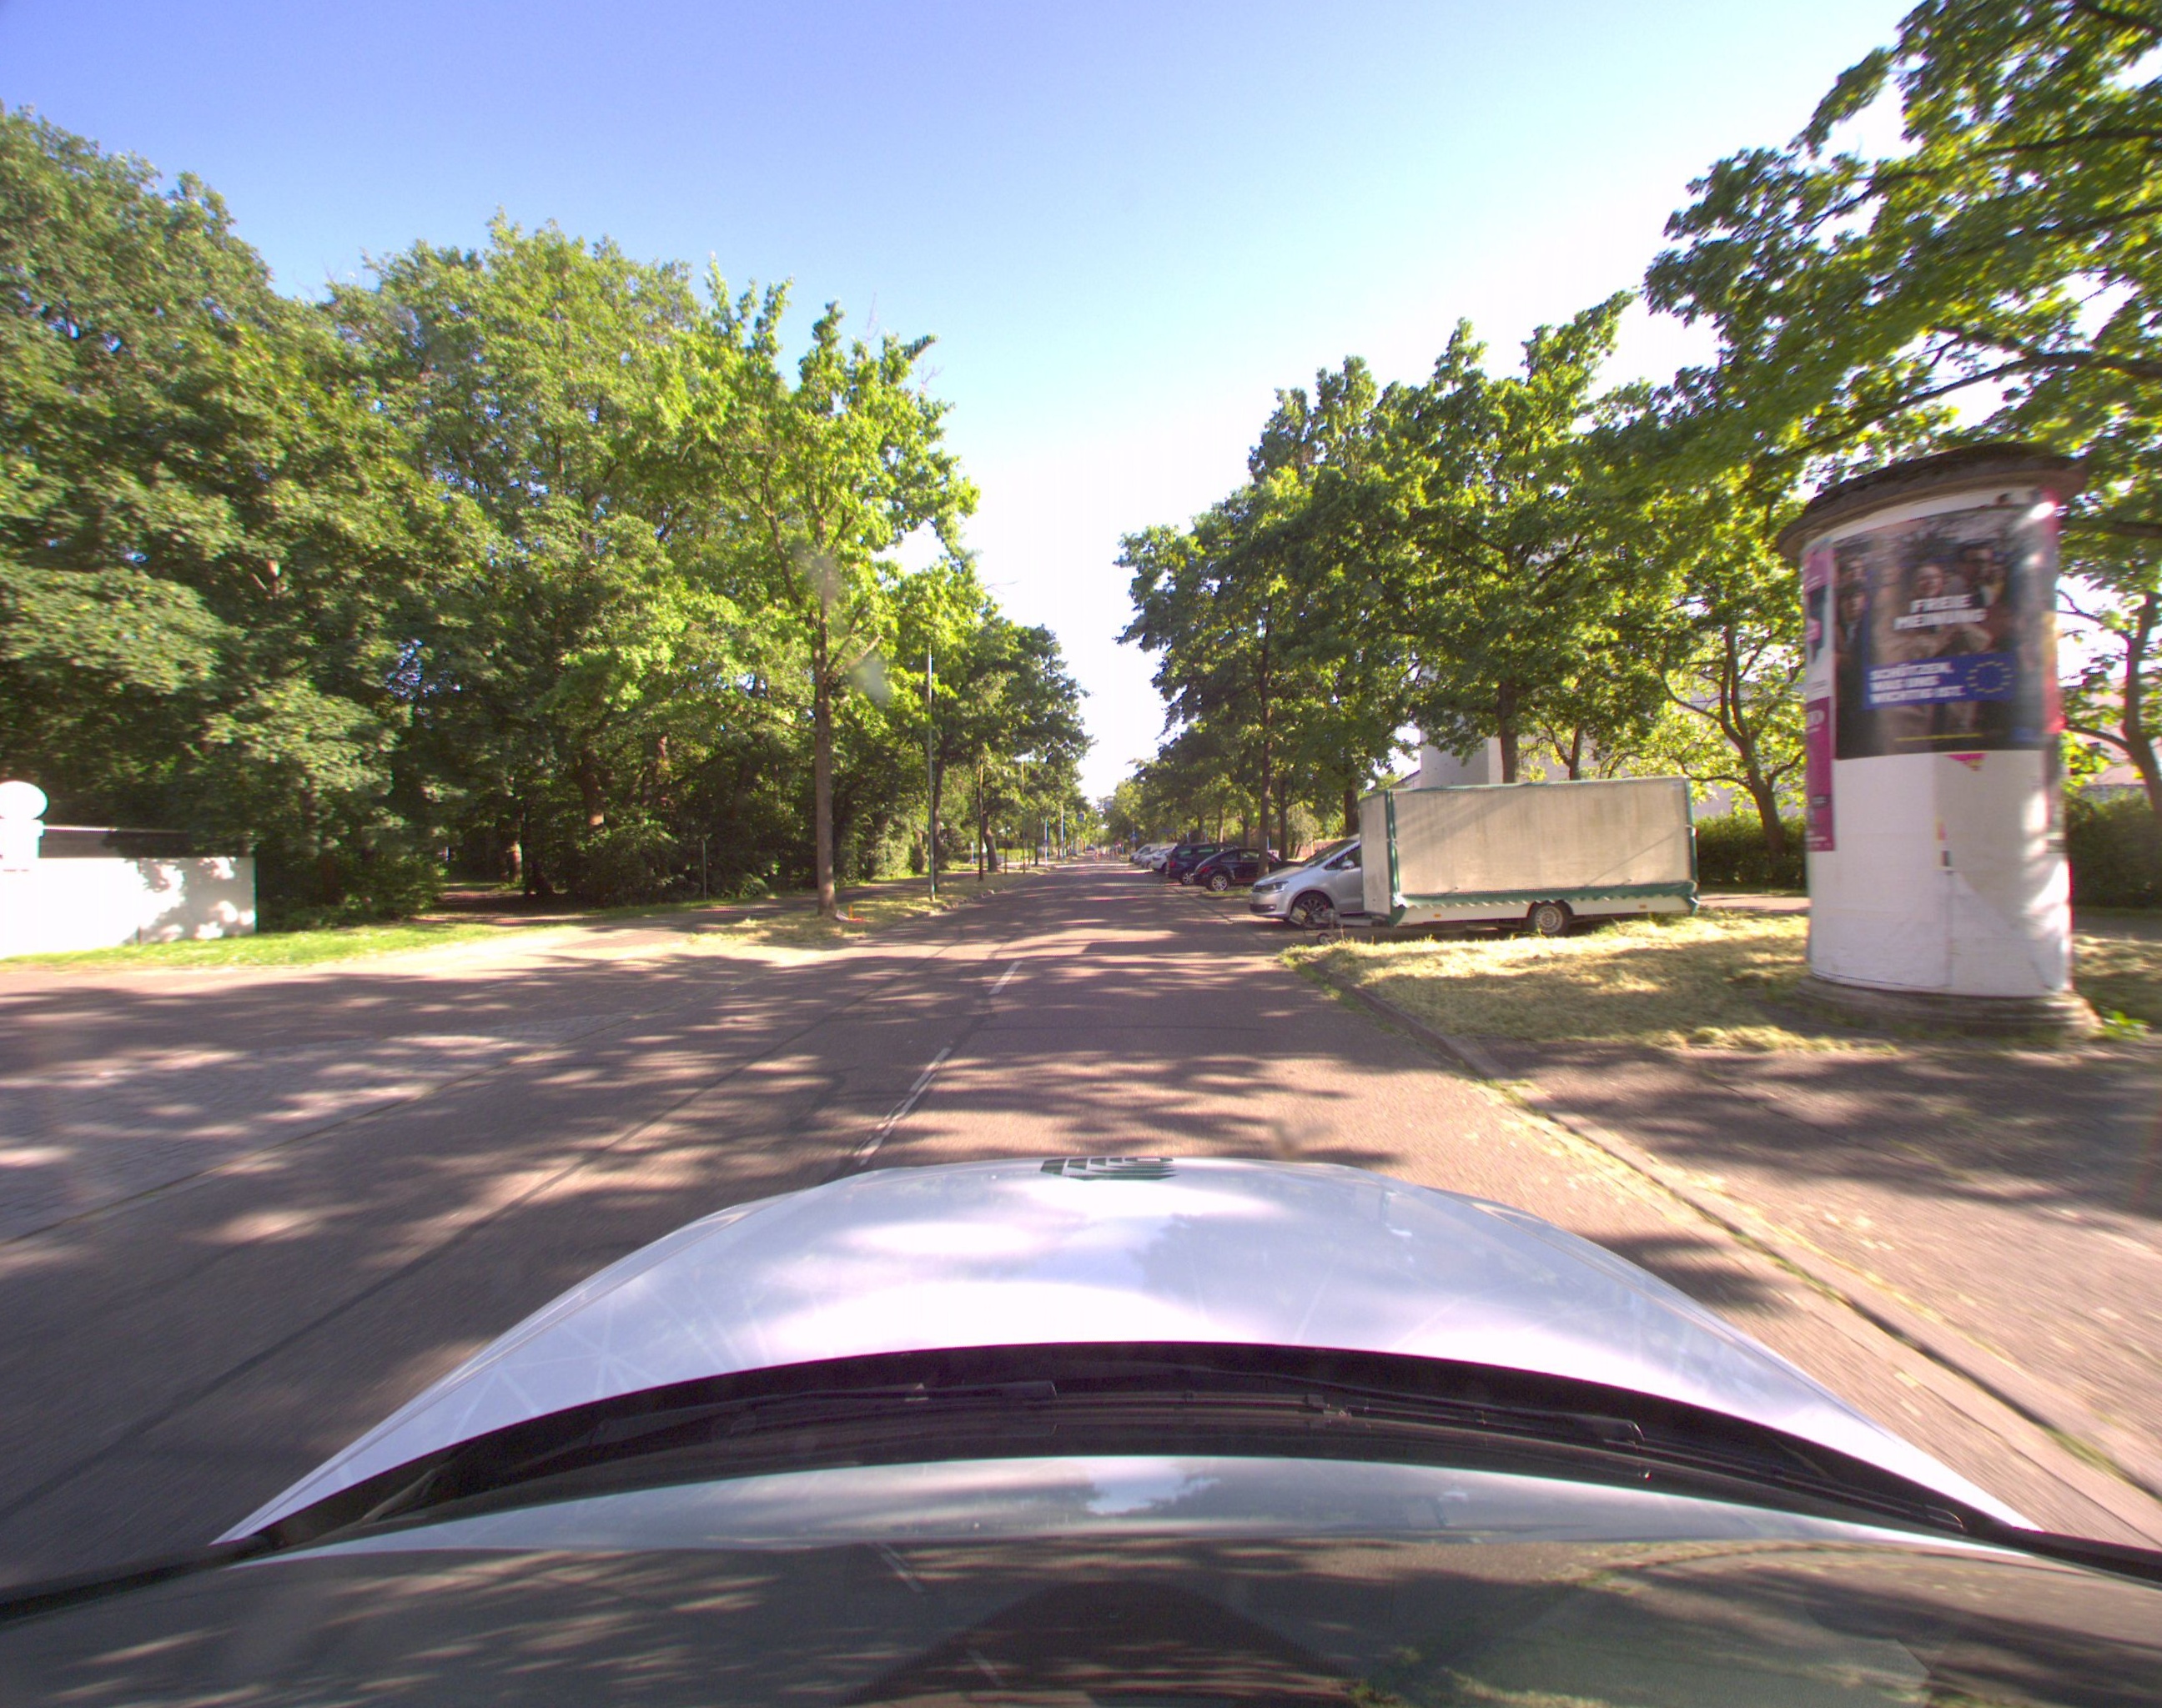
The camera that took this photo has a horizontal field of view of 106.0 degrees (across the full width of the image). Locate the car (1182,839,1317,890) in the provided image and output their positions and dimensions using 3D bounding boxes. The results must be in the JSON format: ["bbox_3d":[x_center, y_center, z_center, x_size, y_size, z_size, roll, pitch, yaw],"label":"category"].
[{"bbox_3d":[5.727,0.346,28.130,4.228,1.519,2.079,-2,0,2],"label":"car"}]

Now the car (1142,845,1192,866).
[{"bbox_3d":[7.087,0.148,67.182,3.871,1.497,1.777,-3,0,0],"label":"car"}]

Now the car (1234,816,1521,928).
[{"bbox_3d":[5.371,0.315,15.271,4.624,1.722,1.989,-3,0,2],"label":"car"}]

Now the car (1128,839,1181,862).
[{"bbox_3d":[7.399,-0.333,82.183,5.171,2.105,2.082,-2,0,0],"label":"car"}]

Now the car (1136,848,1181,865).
[{"bbox_3d":[7.055,0.186,74.261,3.970,1.433,1.902,-1,0,3],"label":"car"}]

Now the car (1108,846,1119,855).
[{"bbox_3d":[6.298,-0.748,159.006,1.986,1.716,4.001,-1,0,1],"label":"car"}]

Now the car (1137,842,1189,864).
[{"bbox_3d":[7.183,-0.076,71.868,4.371,1.651,1.850,-3,0,-1],"label":"car"}]

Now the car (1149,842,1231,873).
[{"bbox_3d":[6.516,0.186,49.016,4.653,1.580,1.918,-3,0,2],"label":"car"}]

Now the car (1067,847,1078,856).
[{"bbox_3d":[-1.673,-0.498,165.262,1.986,1.716,4.001,-1,0,1],"label":"car"}]

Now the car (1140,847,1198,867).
[{"bbox_3d":[6.896,0.235,64.264,4.429,1.390,1.912,-2,0,1],"label":"car"}]

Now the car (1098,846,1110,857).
[{"bbox_3d":[3.879,-0.444,138.046,1.986,1.933,4.001,-1,0,1],"label":"car"}]

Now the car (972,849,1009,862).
[{"bbox_3d":[-10.911,0.209,98.061,3.958,1.484,2.008,-1,0,14],"label":"car"}]

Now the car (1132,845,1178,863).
[{"bbox_3d":[6.993,-0.010,77.021,4.199,1.568,1.933,-1,0,-1],"label":"car"}]

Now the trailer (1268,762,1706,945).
[{"bbox_3d":[5.959,0.001,12.485,5.750,2.317,1.687,-3,0,3],"label":"trailer"}]

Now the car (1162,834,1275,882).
[{"bbox_3d":[5.805,0.177,34.783,4.513,1.801,1.937,-2,0,1],"label":"car"}]
